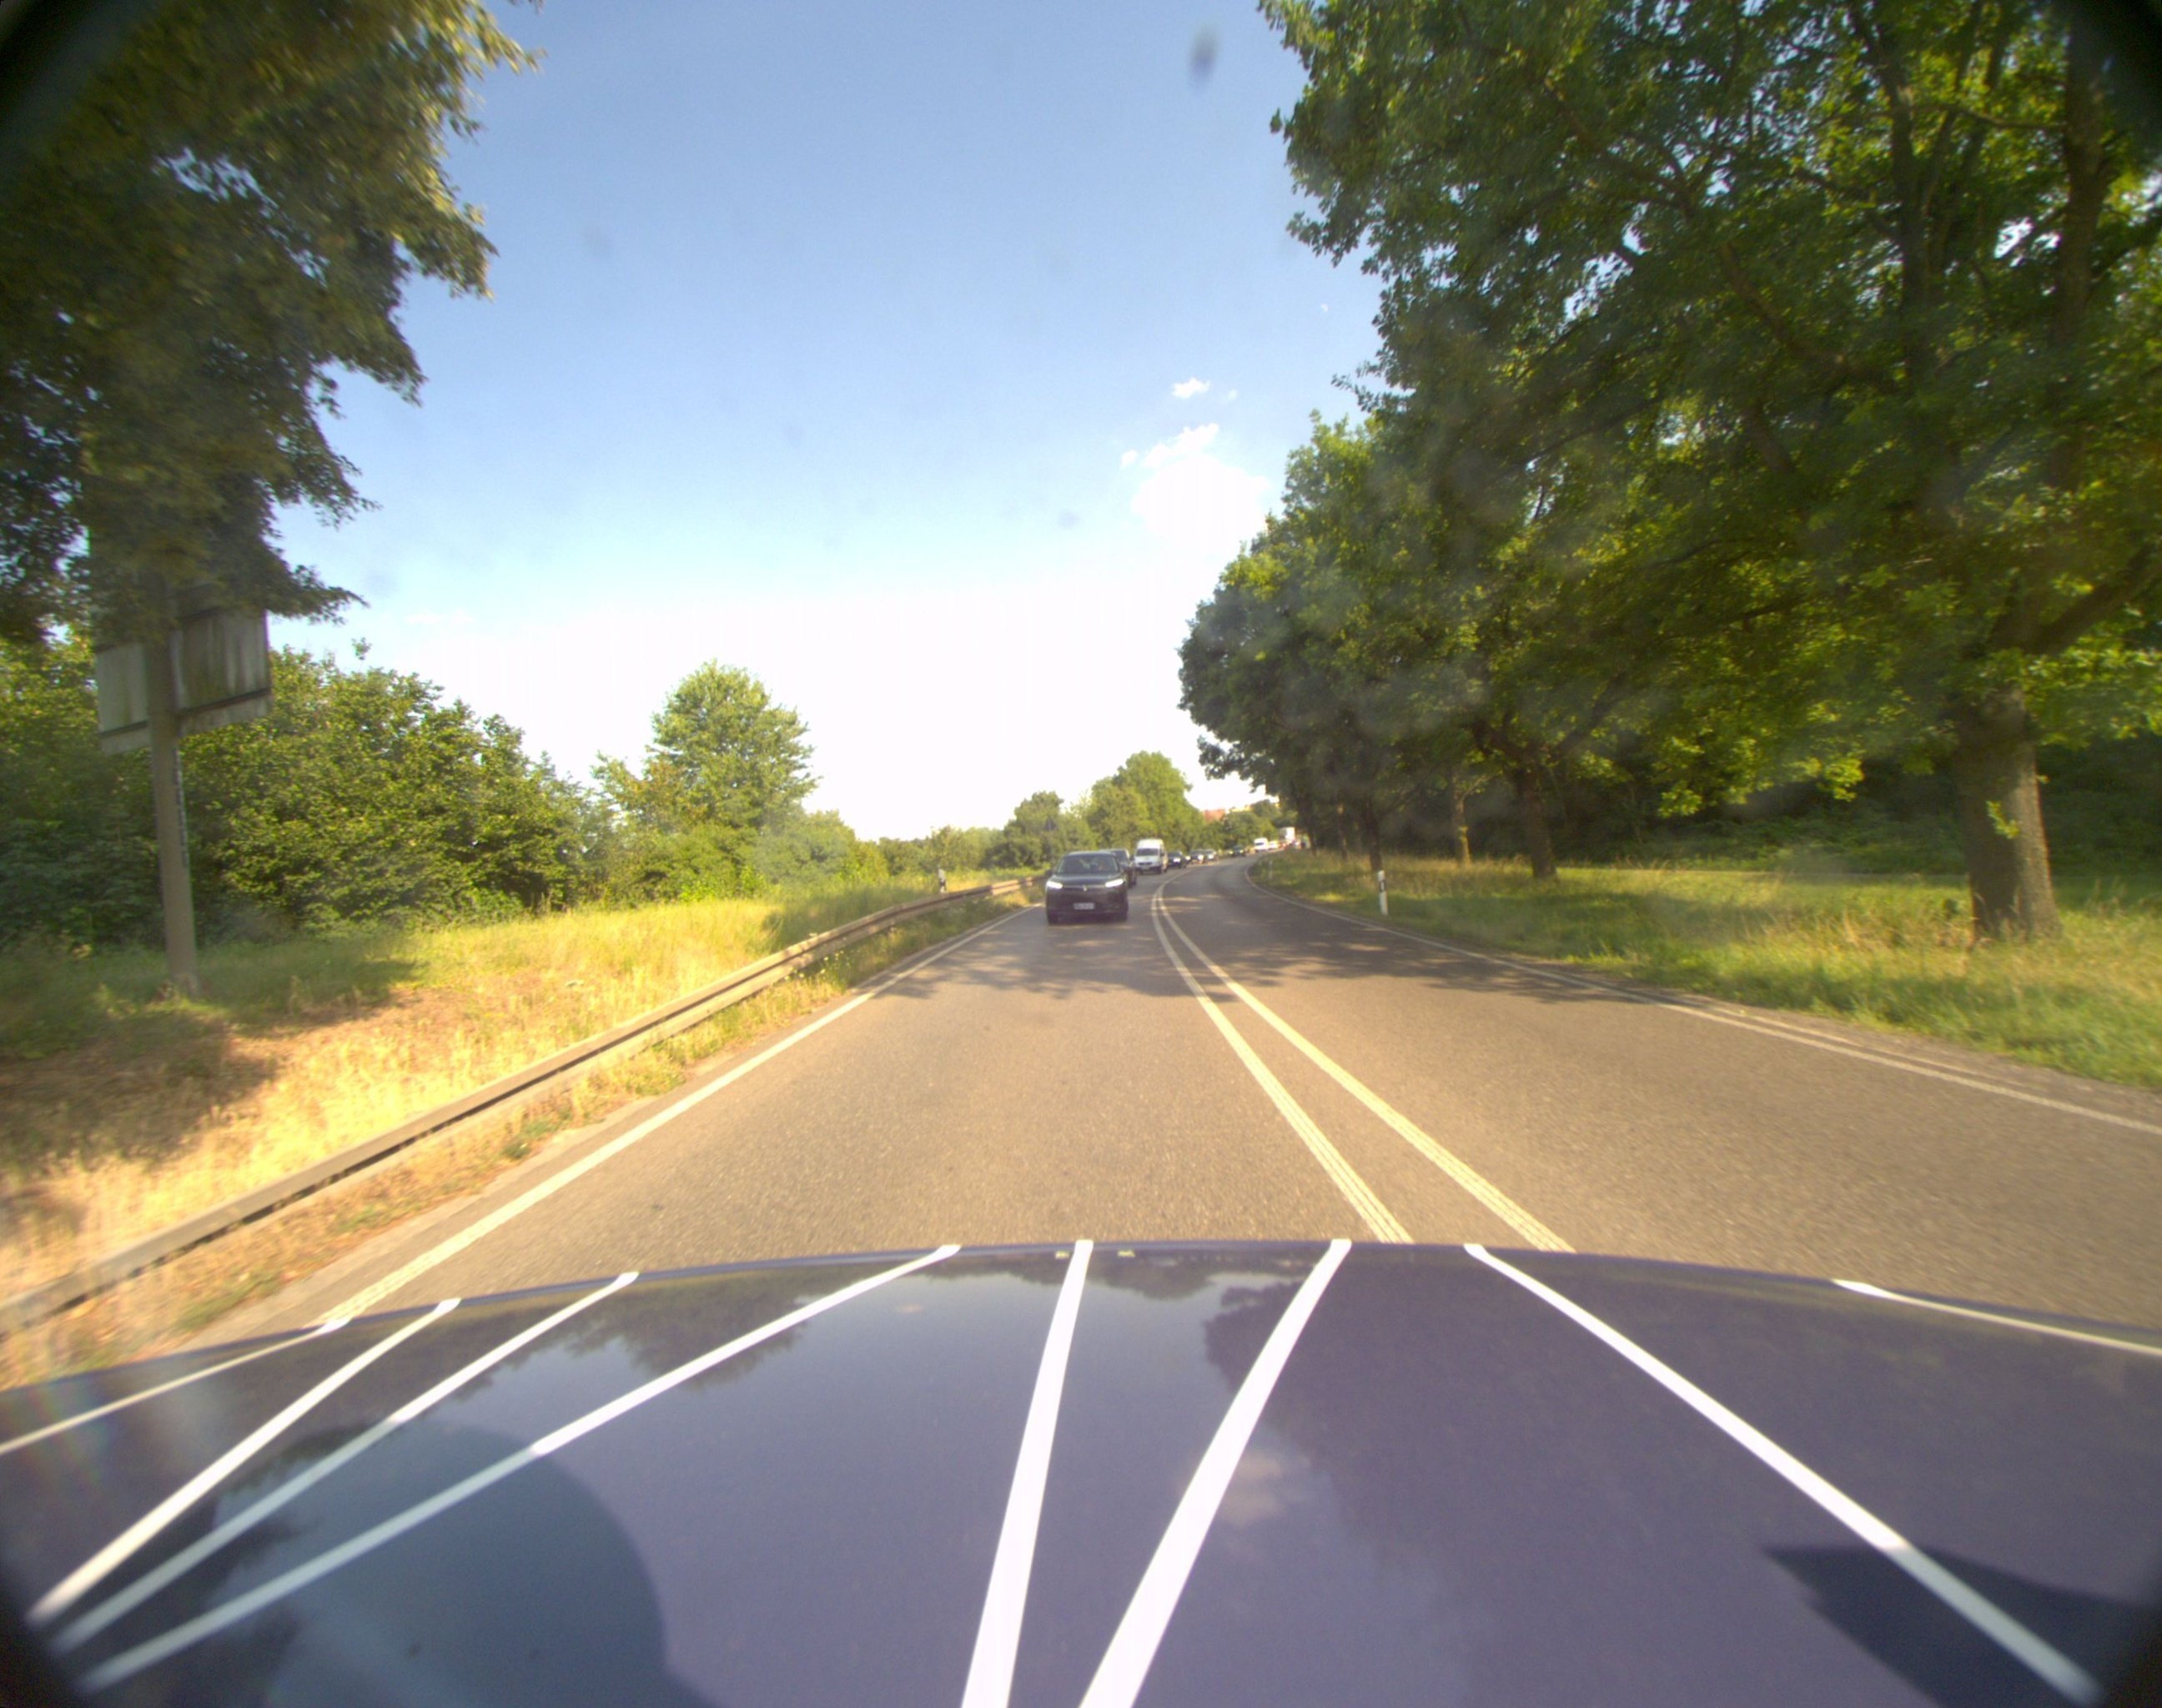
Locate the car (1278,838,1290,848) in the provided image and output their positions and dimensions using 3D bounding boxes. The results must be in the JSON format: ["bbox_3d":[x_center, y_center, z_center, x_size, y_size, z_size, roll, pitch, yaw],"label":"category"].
[{"bbox_3d":[50.857,-2.698,190.029,2.085,2.403,5.149,-2,1,23],"label":"car"}]

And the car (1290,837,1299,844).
[{"bbox_3d":[50.906,-3.199,180.752,1.899,1.622,4.255,-2,1,17],"label":"car"}]

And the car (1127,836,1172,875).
[{"bbox_3d":[4.651,0.032,50.915,2.086,2.403,5.147,-2,1,14],"label":"car"}]

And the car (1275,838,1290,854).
[{"bbox_3d":[31.455,-1.267,118.435,2.086,2.403,5.147,-2,1,17],"label":"car"}]

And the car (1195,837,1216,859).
[{"bbox_3d":[14.599,-0.735,89.022,2.086,2.403,5.146,-2,1,12],"label":"car"}]

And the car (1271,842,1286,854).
[{"bbox_3d":[41.984,-1.220,161.497,2.085,2.403,5.149,-2,1,23],"label":"car"}]

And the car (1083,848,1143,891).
[{"bbox_3d":[1.488,0.639,33.709,1.921,1.718,4.705,-3,0,11],"label":"car"}]

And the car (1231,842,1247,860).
[{"bbox_3d":[23.019,-0.427,110.571,2.086,2.403,5.146,-2,1,12],"label":"car"}]

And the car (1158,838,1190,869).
[{"bbox_3d":[7.780,-0.089,63.013,2.086,2.403,5.146,-2,1,12],"label":"car"}]

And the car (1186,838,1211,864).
[{"bbox_3d":[11.754,-0.326,75.722,2.086,2.403,5.146,-2,1,12],"label":"car"}]

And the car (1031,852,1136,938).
[{"bbox_3d":[0.207,0.831,17.842,1.921,1.612,4.703,-3,1,6],"label":"car"}]

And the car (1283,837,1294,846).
[{"bbox_3d":[58.620,-3.452,214.722,2.085,2.403,5.149,-2,1,23],"label":"car"}]

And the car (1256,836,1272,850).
[{"bbox_3d":[34.103,-2.089,141.644,2.085,2.403,5.149,-2,1,23],"label":"car"}]
